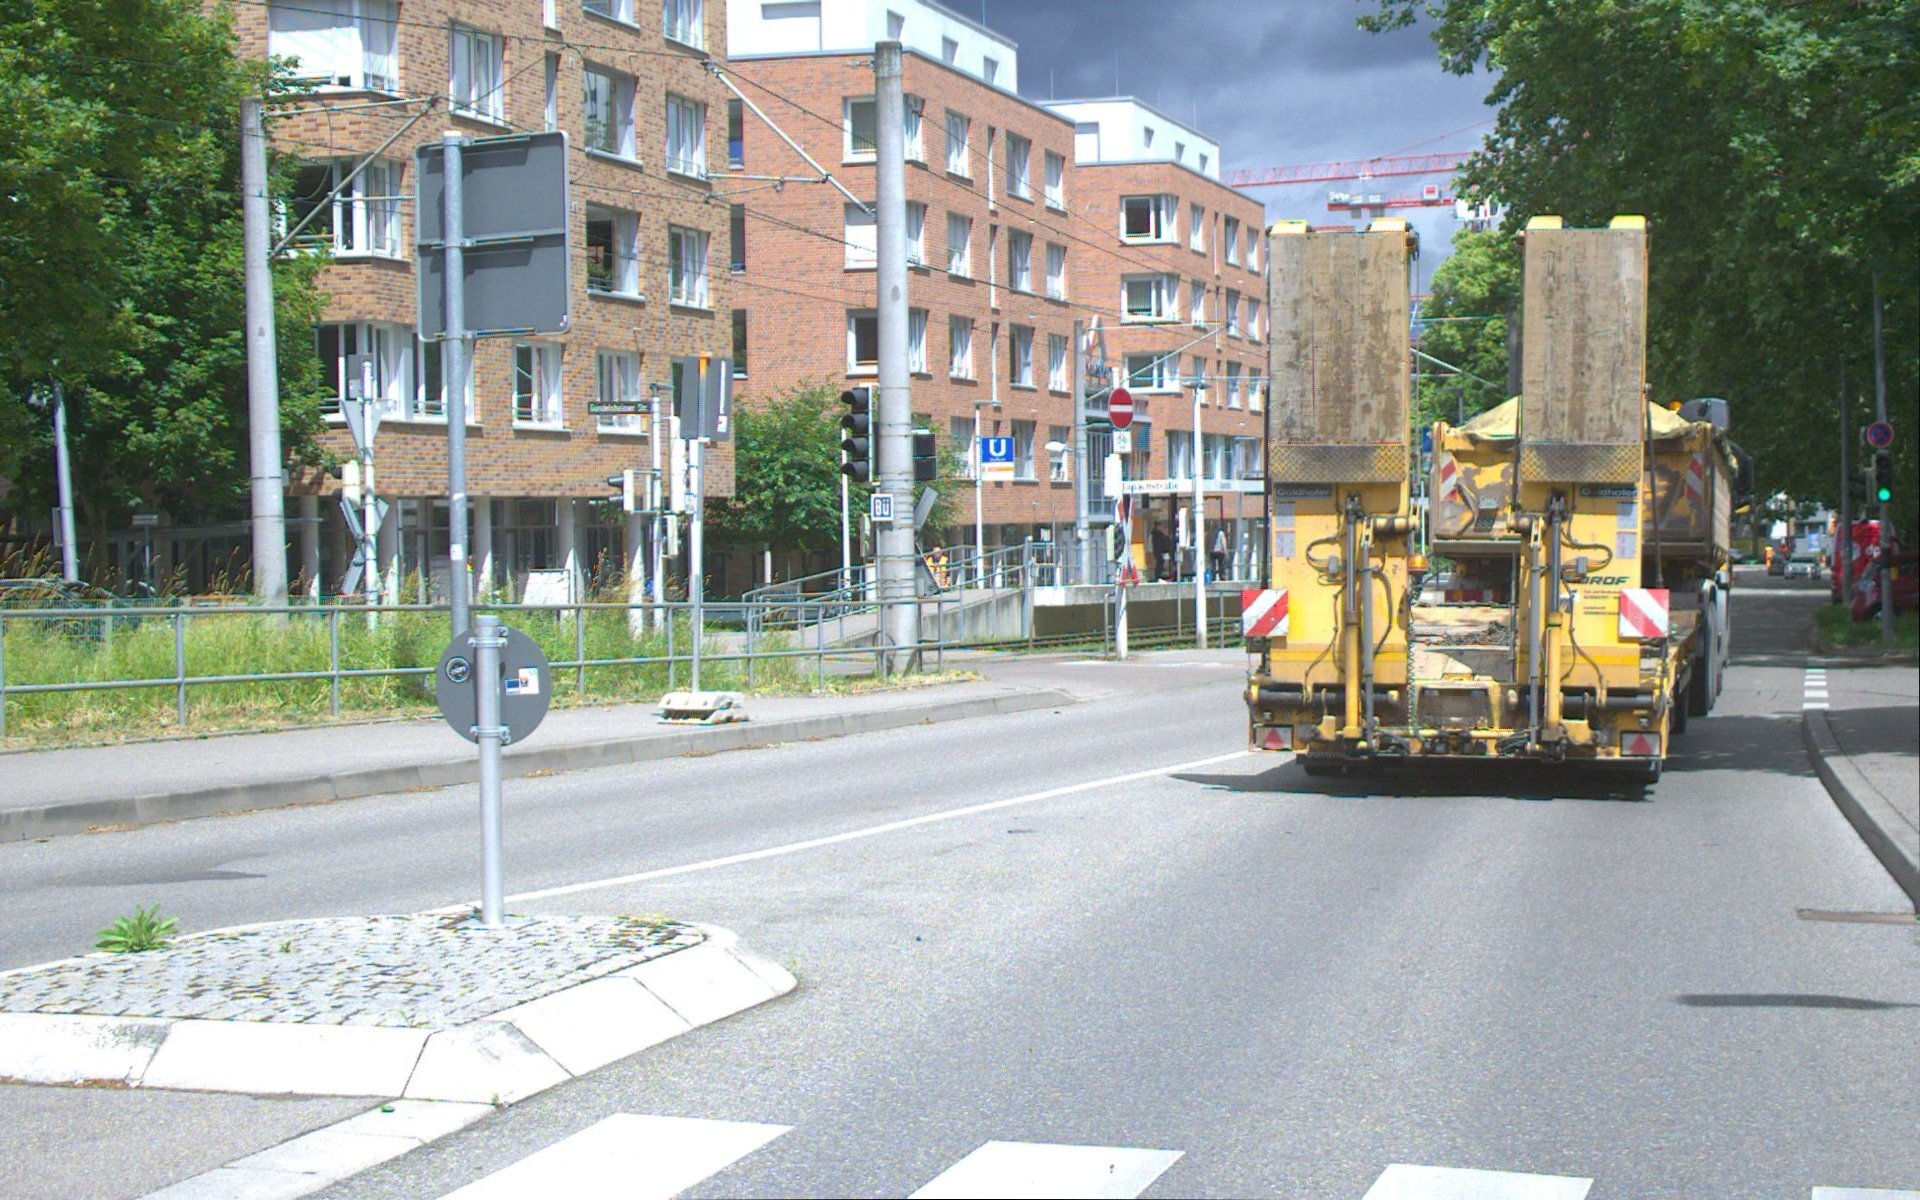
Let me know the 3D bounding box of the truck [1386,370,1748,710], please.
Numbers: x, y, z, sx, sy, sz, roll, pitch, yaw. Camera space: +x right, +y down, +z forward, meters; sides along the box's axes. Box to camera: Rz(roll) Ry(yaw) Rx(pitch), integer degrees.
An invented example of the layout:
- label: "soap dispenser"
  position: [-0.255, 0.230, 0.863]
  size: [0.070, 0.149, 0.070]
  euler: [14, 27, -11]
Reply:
- label: "truck"
  position: [6.412, -0.586, 35.212]
  size: [2.990, 3.024, 8.480]
  euler: [-1, 1, 14]

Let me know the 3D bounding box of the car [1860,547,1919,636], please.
- label: "car"
  position: [18.499, -0.160, 62.593]
  size: [3.990, 1.506, 1.999]
  euler: [1, 4, 17]

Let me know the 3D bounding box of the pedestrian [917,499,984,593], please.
- label: "pedestrian"
  position: [-0.193, -1.166, 74.503]
  size: [1.138, 2.007, 0.997]
  euler: [-1, 0, 21]

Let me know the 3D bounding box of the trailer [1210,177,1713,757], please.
- label: "trailer"
  position: [4.126, -0.839, 25.788]
  size: [2.865, 3.361, 10.835]
  euler: [-2, 0, 12]

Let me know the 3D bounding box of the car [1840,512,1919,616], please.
- label: "car"
  position: [26.654, -1.088, 99.127]
  size: [1.995, 2.818, 5.110]
  euler: [4, 3, 18]

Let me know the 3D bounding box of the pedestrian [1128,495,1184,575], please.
- label: "pedestrian"
  position: [5.020, -1.666, 88.082]
  size: [1.138, 2.007, 0.997]
  euler: [-1, 0, 21]
